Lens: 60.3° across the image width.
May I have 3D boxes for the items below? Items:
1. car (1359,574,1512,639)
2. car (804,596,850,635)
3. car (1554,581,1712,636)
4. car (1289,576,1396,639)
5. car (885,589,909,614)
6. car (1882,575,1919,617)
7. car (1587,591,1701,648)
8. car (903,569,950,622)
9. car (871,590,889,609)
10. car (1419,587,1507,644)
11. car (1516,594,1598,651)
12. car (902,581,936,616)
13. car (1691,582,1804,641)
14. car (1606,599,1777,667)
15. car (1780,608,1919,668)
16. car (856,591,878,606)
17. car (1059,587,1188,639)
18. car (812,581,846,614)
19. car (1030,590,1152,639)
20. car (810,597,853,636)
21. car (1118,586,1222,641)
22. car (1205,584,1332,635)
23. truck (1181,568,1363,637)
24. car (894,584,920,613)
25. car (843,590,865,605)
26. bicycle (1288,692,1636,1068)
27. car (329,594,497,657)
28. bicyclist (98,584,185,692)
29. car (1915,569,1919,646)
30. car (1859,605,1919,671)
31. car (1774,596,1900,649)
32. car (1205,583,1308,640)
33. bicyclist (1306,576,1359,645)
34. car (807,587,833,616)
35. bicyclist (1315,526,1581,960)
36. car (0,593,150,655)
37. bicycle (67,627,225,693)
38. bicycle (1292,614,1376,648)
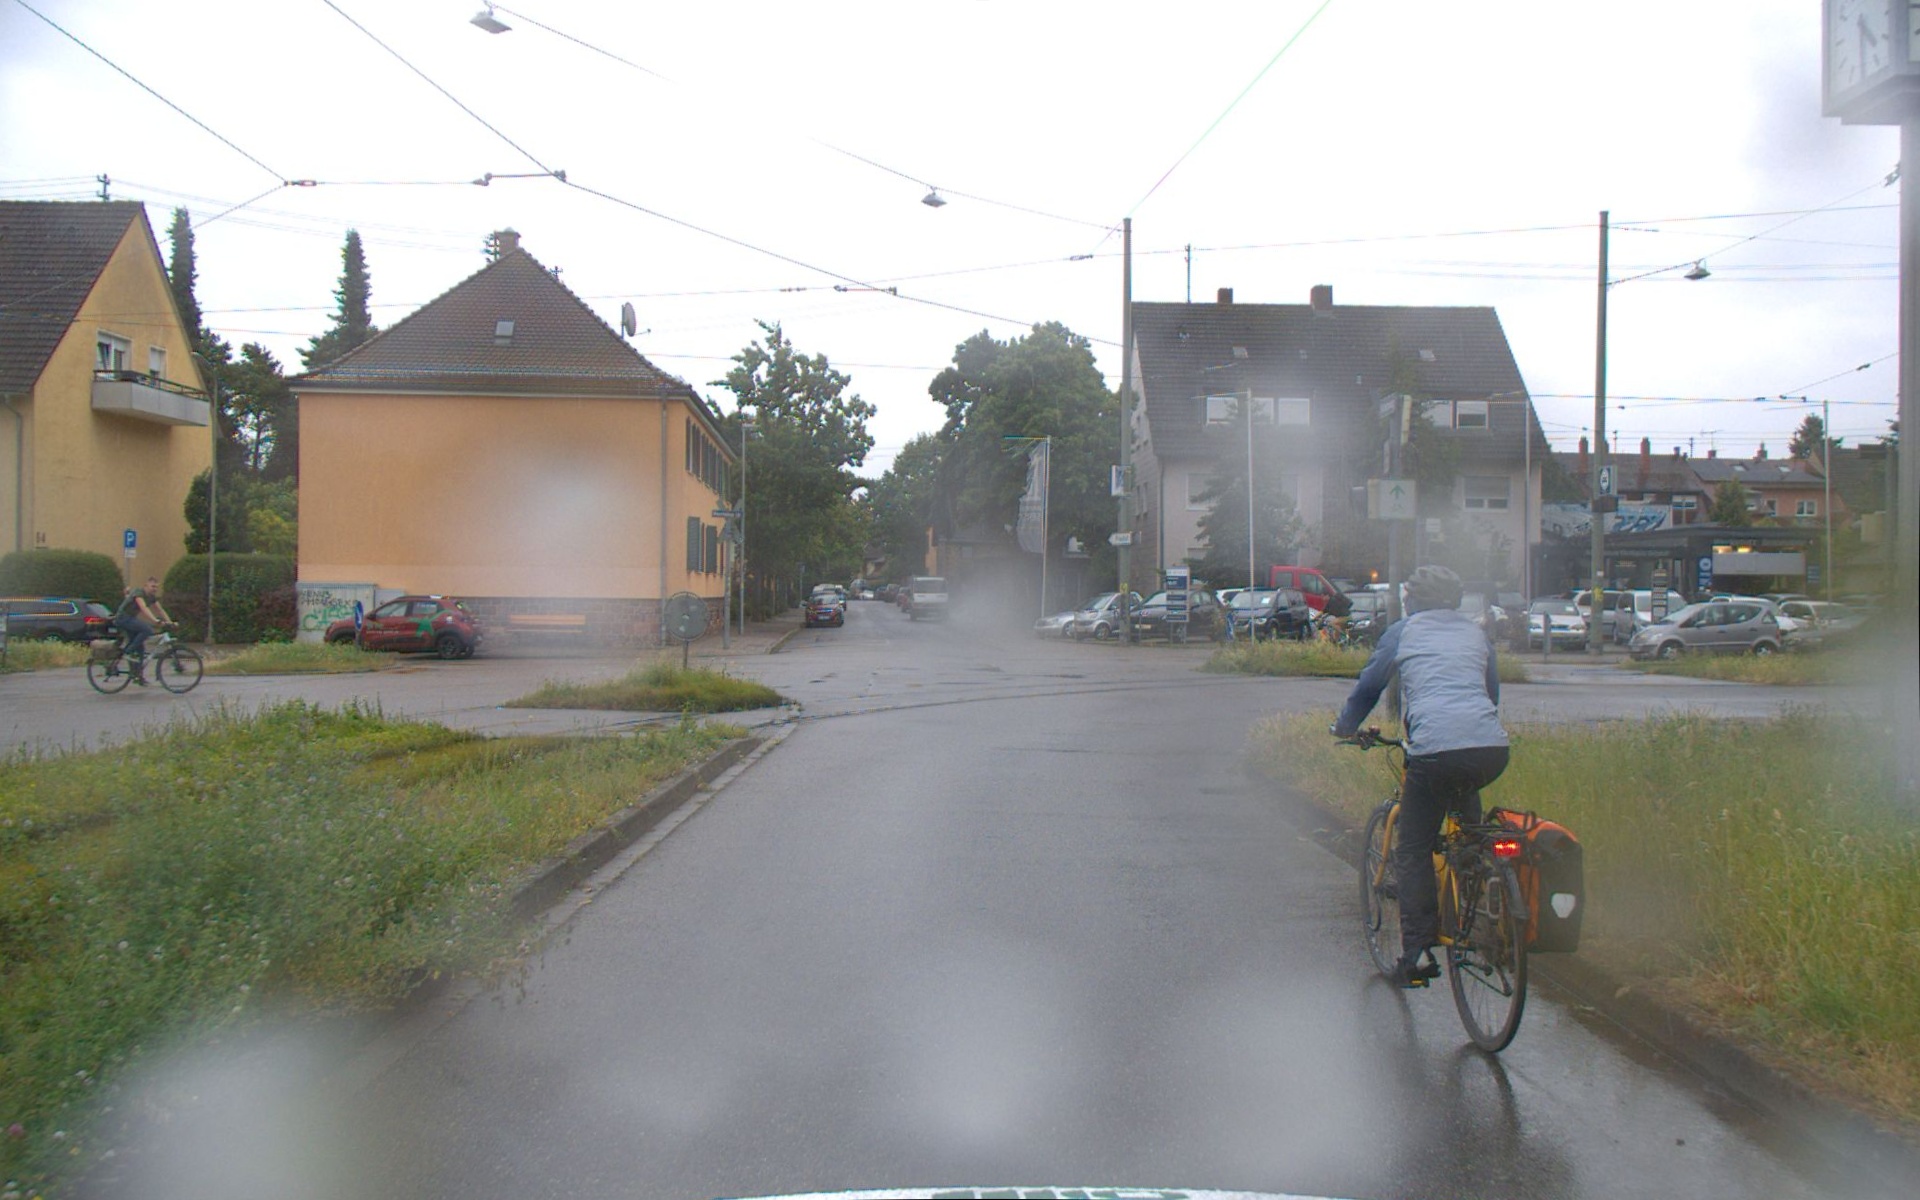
[{"bbox_3d":[15.214,0.229,53.072,4.341,2.049,2.000,0,-1,0],"label":"car"},{"bbox_3d":[-5.834,0.675,73.086,1.954,1.646,3.997,0,0,-4],"label":"car"},{"bbox_3d":[21.432,0.266,52.786,4.341,1.717,1.760,0,-1,0],"label":"car"},{"bbox_3d":[11.199,0.210,48.240,1.957,1.747,3.992,0,0,30],"label":"car"},{"bbox_3d":[-5.436,0.124,142.325,1.792,2.049,3.997,2,0,-4],"label":"car"},{"bbox_3d":[38.921,-0.145,65.651,4.373,1.608,1.781,0,-1,-24],"label":"car"},{"bbox_3d":[20.202,0.538,48.978,1.765,1.606,3.871,0,0,0],"label":"car"},{"bbox_3d":[-1.764,-0.227,85.394,2.111,2.617,4.130,2,0,-4],"label":"car"},{"bbox_3d":[-9.077,-0.088,187.673,1.792,2.049,3.997,2,0,-4],"label":"car"},{"bbox_3d":[14.730,0.458,48.311,1.792,1.530,4.054,2,0,26],"label":"car"},{"bbox_3d":[17.407,0.650,48.364,1.789,1.530,4.061,2,0,14],"label":"car"},{"bbox_3d":[-2.571,-0.117,102.703,1.953,2.049,3.998,2,0,-2],"label":"car"},{"bbox_3d":[23.348,0.326,49.159,1.682,1.600,3.618,2,0,2],"label":"car"},{"bbox_3d":[18.510,0.826,41.933,3.560,1.530,1.722,2,0,-4],"label":"car"},{"bbox_3d":[23.456,0.996,42.089,4.285,1.362,1.723,3,0,0],"label":"car"},{"bbox_3d":[-11.586,-0.218,205.881,1.800,1.726,4.011,2,0,-18],"label":"car"},{"bbox_3d":[5.319,0.411,53.796,3.805,1.606,1.796,0,0,-22],"label":"car"},{"bbox_3d":[-8.528,-0.157,107.832,1.953,2.049,3.998,2,0,-2],"label":"car"},{"bbox_3d":[4.483,0.473,56.813,3.805,1.606,1.796,0,0,-22],"label":"car"},{"bbox_3d":[-6.006,0.777,77.828,1.954,1.780,3.997,0,0,-4],"label":"car"},{"bbox_3d":[6.419,0.379,50.171,1.768,1.606,3.864,0,0,30],"label":"car"},{"bbox_3d":[10.085,0.312,54.003,3.883,1.626,2.001,0,-1,18],"label":"car"},{"bbox_3d":[10.754,0.112,57.027,5.955,2.312,2.001,0,-1,18],"label":"truck"},{"bbox_3d":[-3.972,-0.139,123.258,1.792,2.049,3.997,2,0,-3],"label":"car"},{"bbox_3d":[-13.497,-0.306,211.246,1.800,1.726,4.011,2,0,-18],"label":"car"},{"bbox_3d":[1.814,0.958,6.306,0.737,1.091,1.927,-1,0,0],"label":"bicycle"},{"bbox_3d":[-13.308,0.602,40.399,3.534,1.362,1.721,2,0,-5],"label":"car"},{"bbox_3d":[-12.370,0.567,25.024,0.893,1.585,0.833,1,-1,-5],"label":"bicyclist"},{"bbox_3d":[31.816,0.288,50.535,2.102,2.448,5.147,2,0,-2],"label":"car"},{"bbox_3d":[23.705,0.878,39.053,3.908,1.502,1.999,0,0,-3],"label":"car"},{"bbox_3d":[25.700,0.623,48.610,1.682,1.420,3.843,2,0,2],"label":"car"},{"bbox_3d":[8.785,0.306,48.805,1.768,1.606,3.864,0,0,30],"label":"car"},{"bbox_3d":[8.943,0.241,39.773,1.018,1.626,0.949,0,0,-3],"label":"bicyclist"},{"bbox_3d":[-10.438,0.104,123.666,1.792,2.049,3.997,2,0,-4],"label":"car"},{"bbox_3d":[1.802,0.501,6.229,0.735,1.511,0.846,-1,0,0],"label":"bicyclist"},{"bbox_3d":[-22.061,0.558,39.525,4.402,1.420,1.966,1,0,-4],"label":"car"},{"bbox_3d":[-12.286,0.901,25.016,1.940,0.928,0.823,1,-1,-5],"label":"bicycle"},{"bbox_3d":[8.967,0.740,39.743,1.778,0.800,0.942,-1,0,-4],"label":"bicycle"}]
